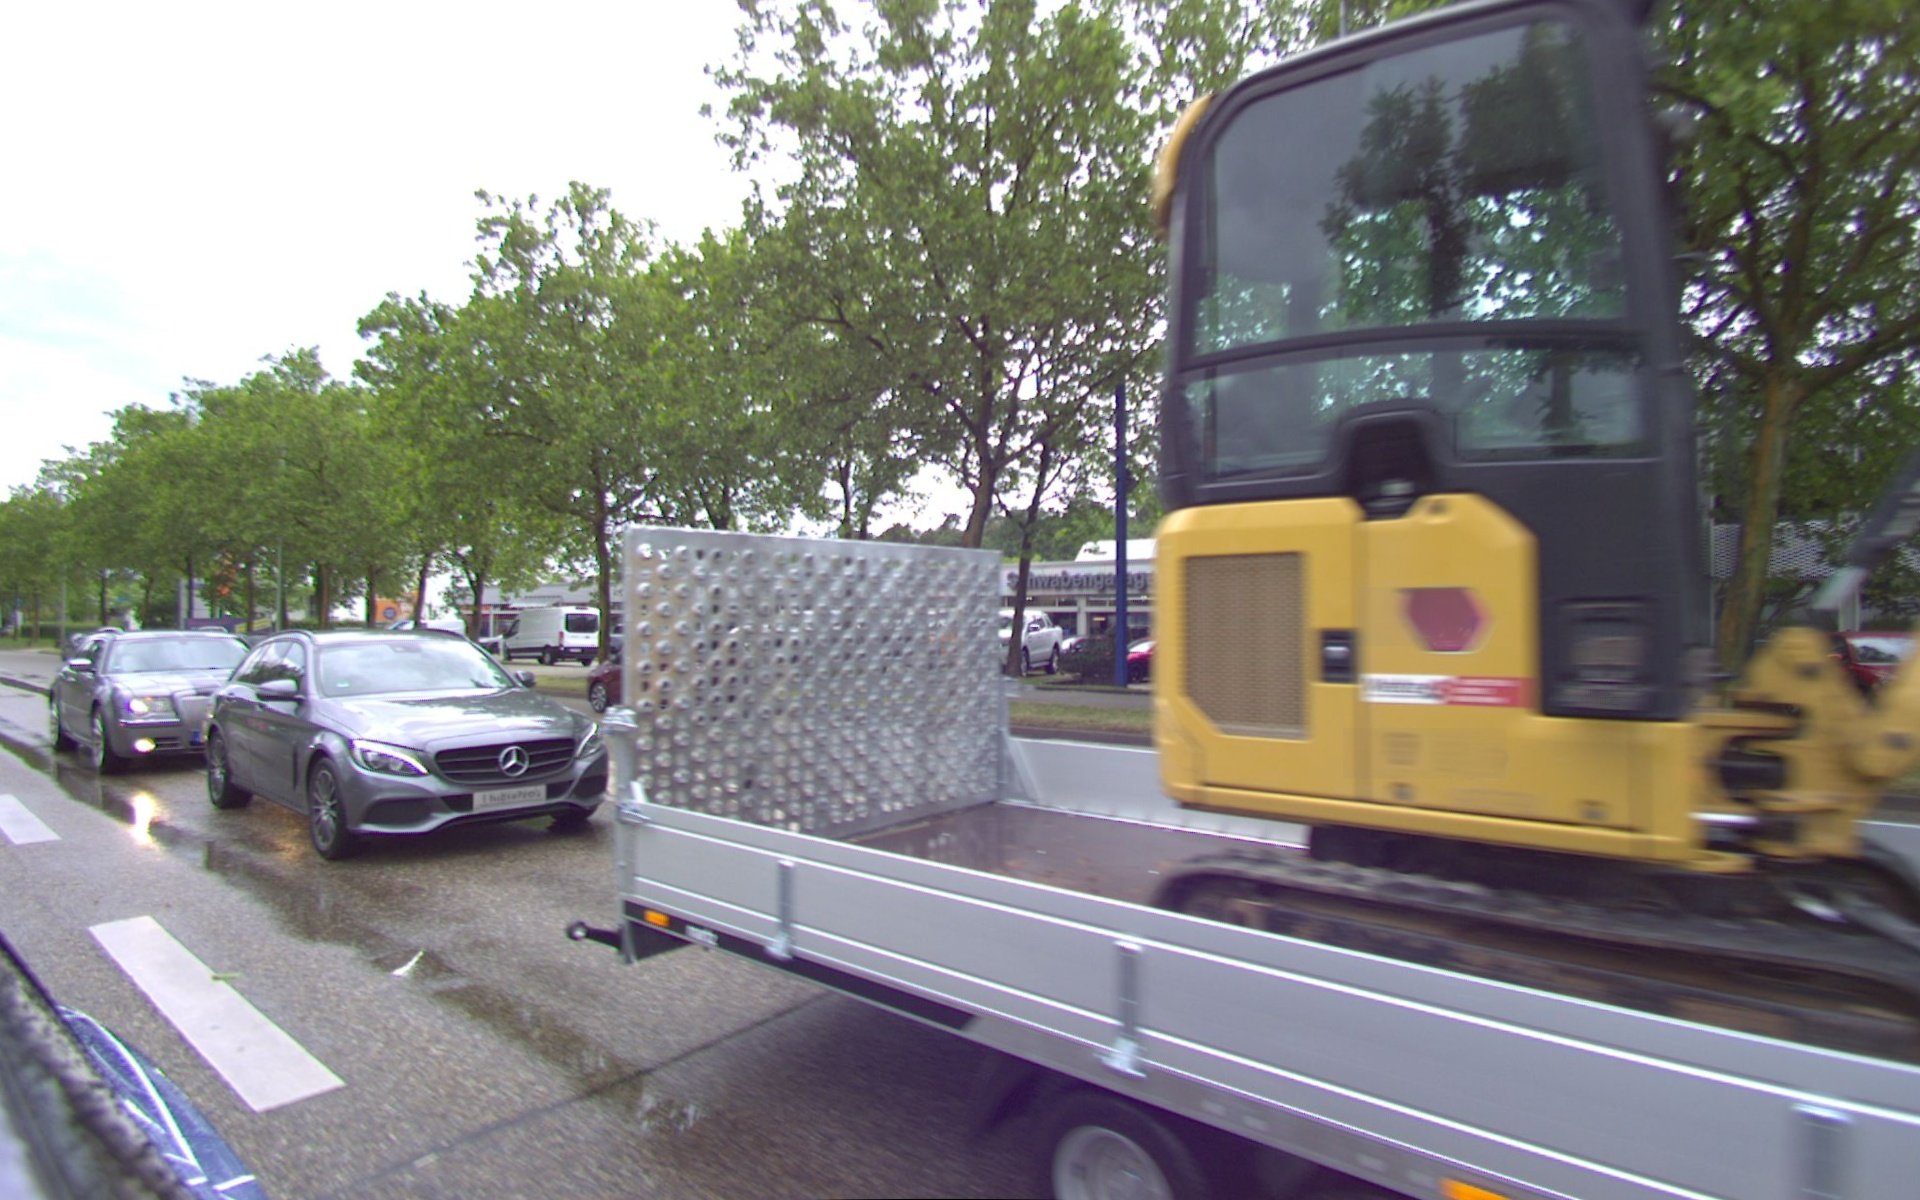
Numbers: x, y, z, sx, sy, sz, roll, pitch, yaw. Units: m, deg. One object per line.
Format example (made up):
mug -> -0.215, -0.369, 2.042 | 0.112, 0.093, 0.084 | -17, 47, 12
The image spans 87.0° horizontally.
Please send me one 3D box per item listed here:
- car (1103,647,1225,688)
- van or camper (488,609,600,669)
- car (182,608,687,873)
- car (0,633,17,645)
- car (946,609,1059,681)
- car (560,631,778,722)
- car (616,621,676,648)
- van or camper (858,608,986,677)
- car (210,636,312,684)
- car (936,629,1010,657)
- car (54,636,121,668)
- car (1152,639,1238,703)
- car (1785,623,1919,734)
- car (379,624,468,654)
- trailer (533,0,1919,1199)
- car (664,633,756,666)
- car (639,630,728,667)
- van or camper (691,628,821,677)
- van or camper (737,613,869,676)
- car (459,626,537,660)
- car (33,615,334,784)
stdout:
car -> 6.869, 2.232, 34.136 | 3.714, 1.265, 1.660 | 1, -2, -23
van or camper -> -18.567, 1.697, 44.958 | 6.398, 2.489, 1.972 | -2, -1, 42
car -> -4.237, 0.892, 7.801 | 4.553, 1.440, 1.972 | -3, -4, 42
car -> -130.738, 5.284, 138.784 | 4.000, 1.545, 1.723 | -1, -4, 43
car -> 1.270, 1.212, 28.026 | 1.984, 1.830, 4.441 | -1, -2, 18
car -> -5.354, 1.323, 18.441 | 4.078, 1.476, 1.694 | -1, -3, 37
car -> -22.578, 2.437, 72.878 | 1.905, 1.757, 3.846 | -1, 0, 31
van or camper -> -0.997, 1.238, 30.419 | 2.088, 1.783, 5.343 | 2, -1, 18
car -> -22.867, 1.911, 33.069 | 4.081, 1.476, 1.692 | -2, -3, 40
car -> 0.729, 2.343, 55.283 | 1.865, 1.450, 3.943 | -2, -2, 43
car -> -41.676, 2.460, 48.311 | 4.534, 1.440, 1.719 | -2, -3, 40
car -> 6.036, 1.768, 26.211 | 1.980, 1.461, 4.450 | -1, -2, 12
car -> 16.080, 1.222, 16.949 | 1.984, 1.608, 4.541 | -1, -1, 18
car -> -37.056, 2.666, 69.985 | 2.127, 2.029, 4.995 | -1, -2, 39
trailer -> 1.494, -0.047, 2.408 | 5.541, 2.919, 2.348 | -2, -3, 40
car -> -12.095, 2.374, 49.006 | 3.933, 1.532, 1.870 | 1, -2, -34
car -> -13.883, 2.389, 50.927 | 3.933, 1.780, 1.870 | 1, -2, -34
van or camper -> -7.776, 1.968, 38.647 | 4.566, 1.798, 1.845 | 0, -2, -24
van or camper -> -4.867, 1.376, 32.314 | 2.246, 1.835, 5.273 | -1, -2, 15
car -> -28.418, 2.601, 62.285 | 1.880, 2.029, 3.948 | -2, -2, 39
car -> -9.260, 1.022, 11.897 | 4.878, 1.590, 1.887 | -2, -3, 41
